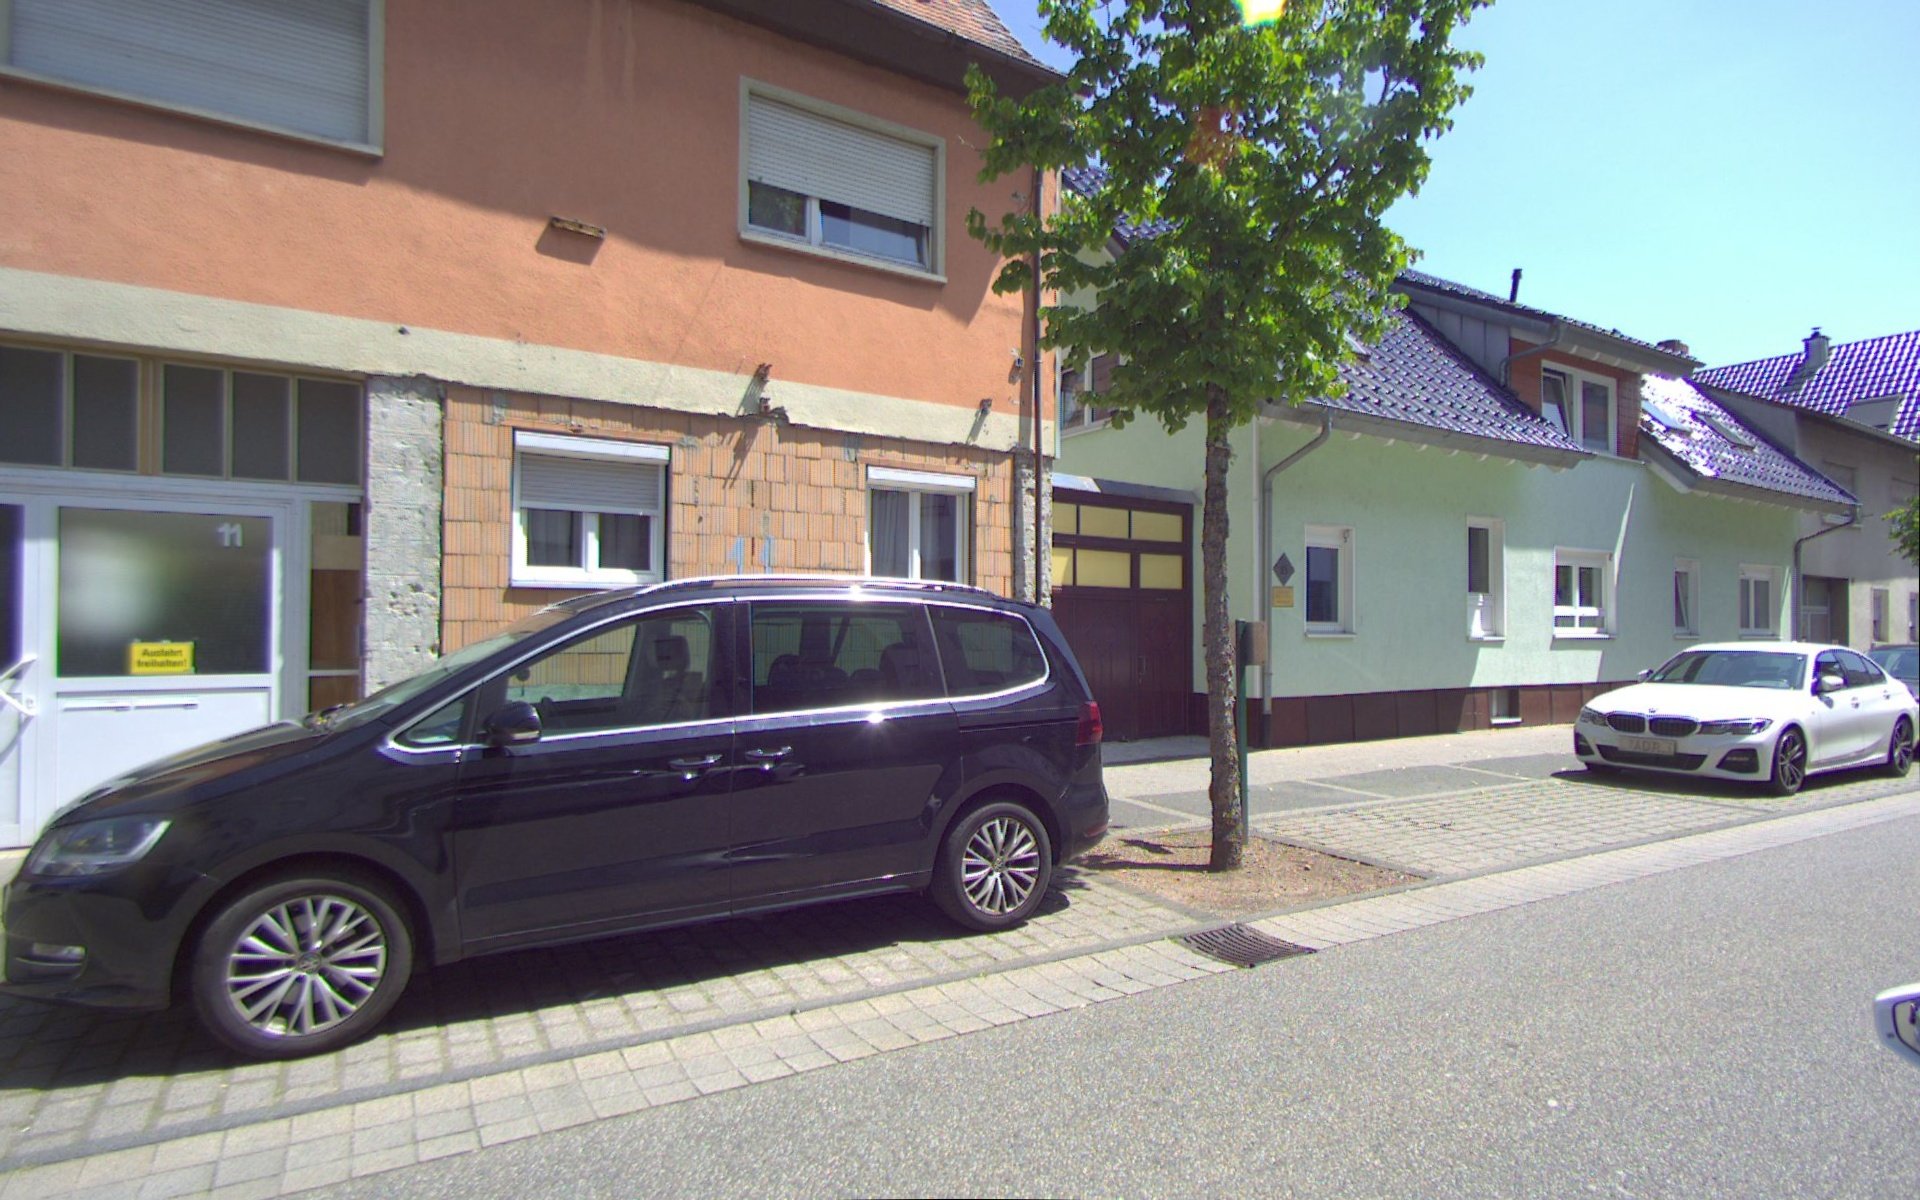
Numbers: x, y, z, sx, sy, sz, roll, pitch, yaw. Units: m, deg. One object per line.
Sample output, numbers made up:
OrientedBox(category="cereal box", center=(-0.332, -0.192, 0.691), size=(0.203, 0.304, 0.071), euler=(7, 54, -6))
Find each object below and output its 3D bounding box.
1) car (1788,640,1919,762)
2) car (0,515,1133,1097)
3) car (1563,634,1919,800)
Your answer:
OrientedBox(category="car", center=(13.395, 1.312, 13.828), size=(4.485, 1.456, 1.653), euler=(2, -1, -30))
OrientedBox(category="car", center=(-1.434, 0.685, 4.950), size=(4.468, 1.749, 1.766), euler=(2, -2, -31))
OrientedBox(category="car", center=(8.669, 1.140, 10.983), size=(4.409, 1.456, 1.711), euler=(2, -1, -31))
